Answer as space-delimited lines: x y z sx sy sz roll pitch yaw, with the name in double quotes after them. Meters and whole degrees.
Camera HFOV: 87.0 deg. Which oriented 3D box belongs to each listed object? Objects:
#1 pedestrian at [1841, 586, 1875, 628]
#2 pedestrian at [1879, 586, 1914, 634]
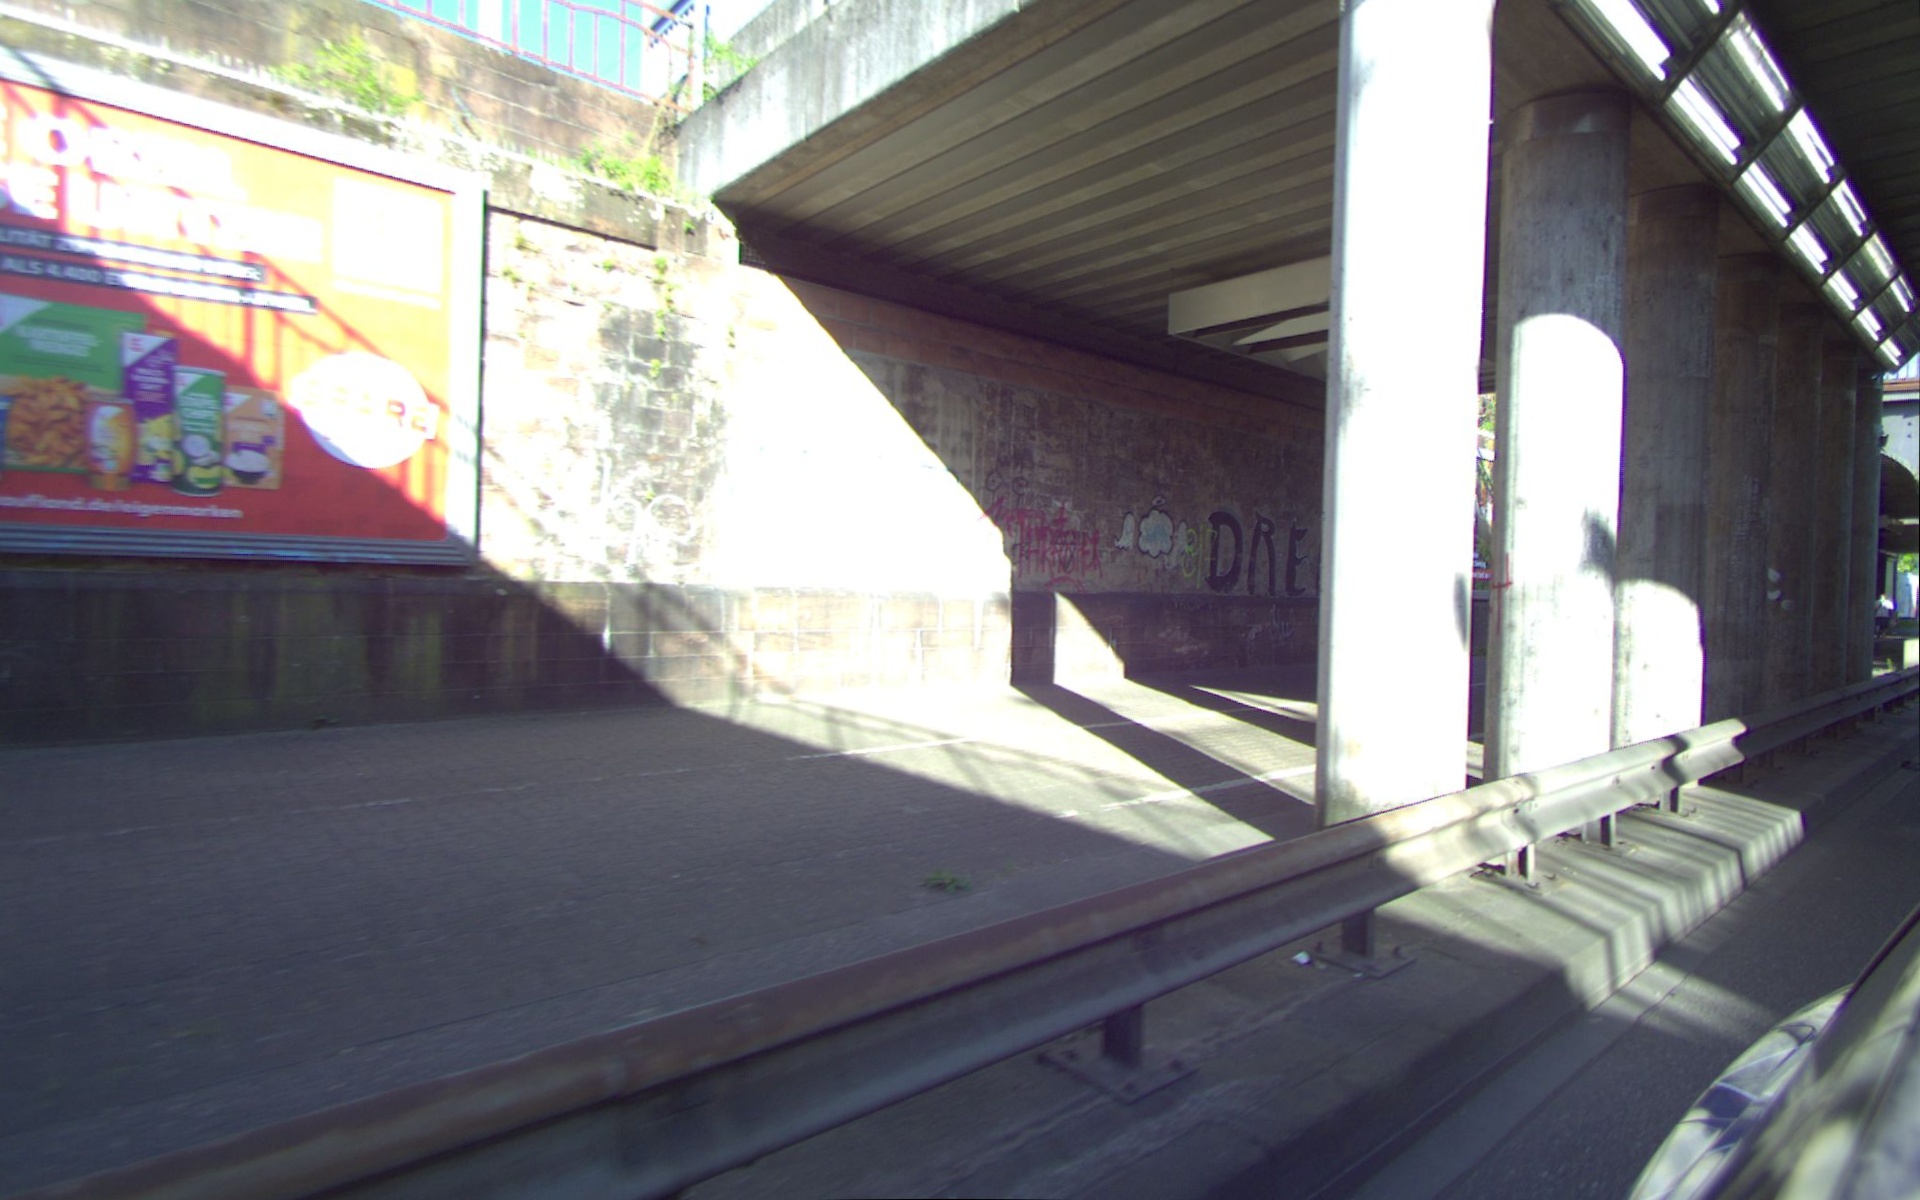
37.649 0.275 42.439 0.871 1.676 0.917 1 3 -43 "pedestrian"
38.079 0.394 41.156 0.907 1.857 0.881 1 3 -43 "pedestrian"
